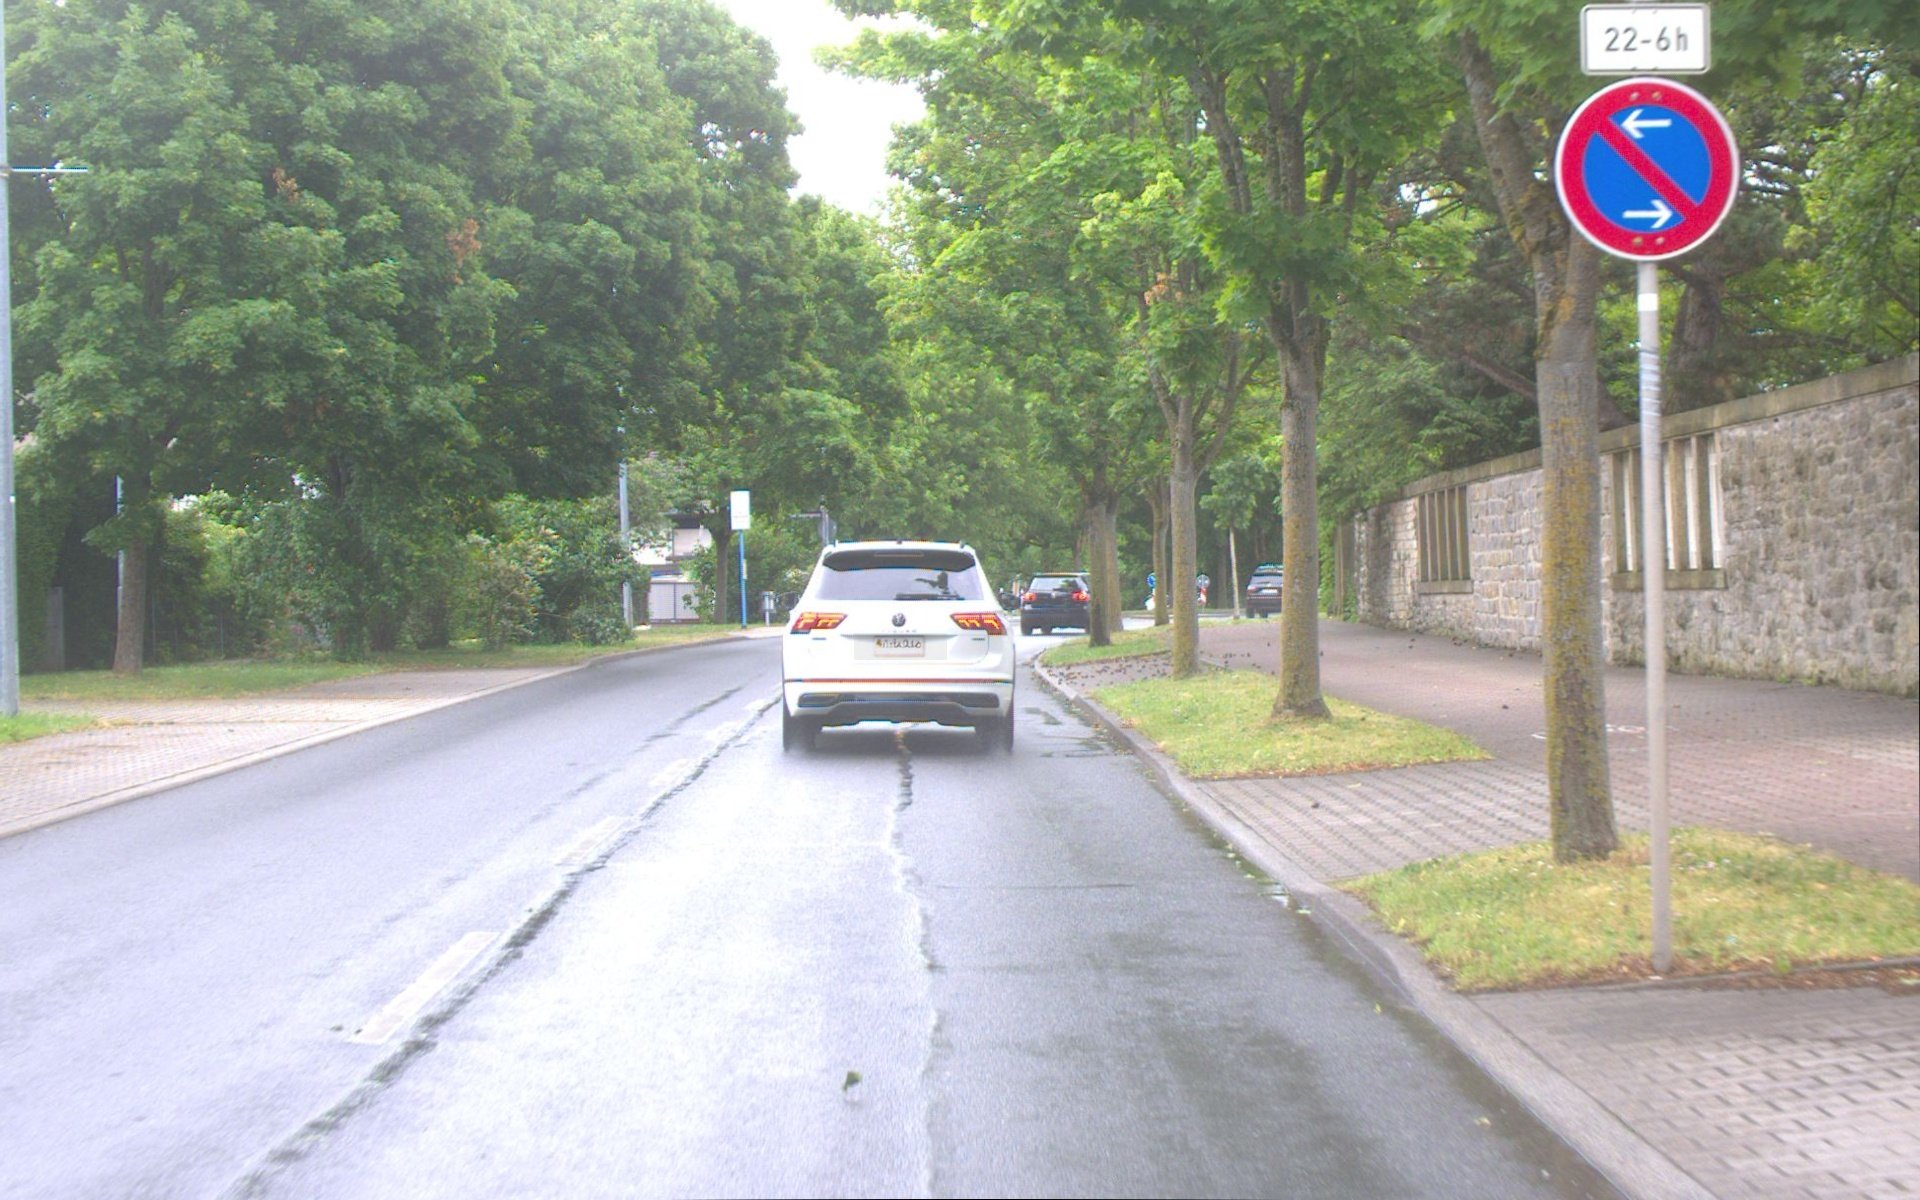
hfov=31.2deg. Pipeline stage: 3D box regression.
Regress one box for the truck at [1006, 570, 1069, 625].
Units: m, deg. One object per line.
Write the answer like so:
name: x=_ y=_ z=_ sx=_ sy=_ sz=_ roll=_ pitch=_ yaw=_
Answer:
truck: x=3.766 y=-0.115 z=165.627 sx=2.285 sy=2.588 sz=5.872 roll=-1 pitch=0 yaw=8

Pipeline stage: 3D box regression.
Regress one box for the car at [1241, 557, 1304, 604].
car: x=10.552 y=-0.639 z=115.952 sx=1.841 sy=1.482 sz=3.998 roll=-3 pitch=-1 yaw=8

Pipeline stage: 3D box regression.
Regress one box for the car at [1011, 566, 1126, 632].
car: x=2.584 y=-0.033 z=81.224 sx=1.842 sy=1.482 sz=3.997 roll=2 pitch=1 yaw=14

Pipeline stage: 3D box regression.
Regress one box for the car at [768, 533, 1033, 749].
car: x=-0.499 y=0.280 z=28.039 sx=1.996 sy=1.626 sz=4.000 roll=0 pitch=1 yaw=-1
